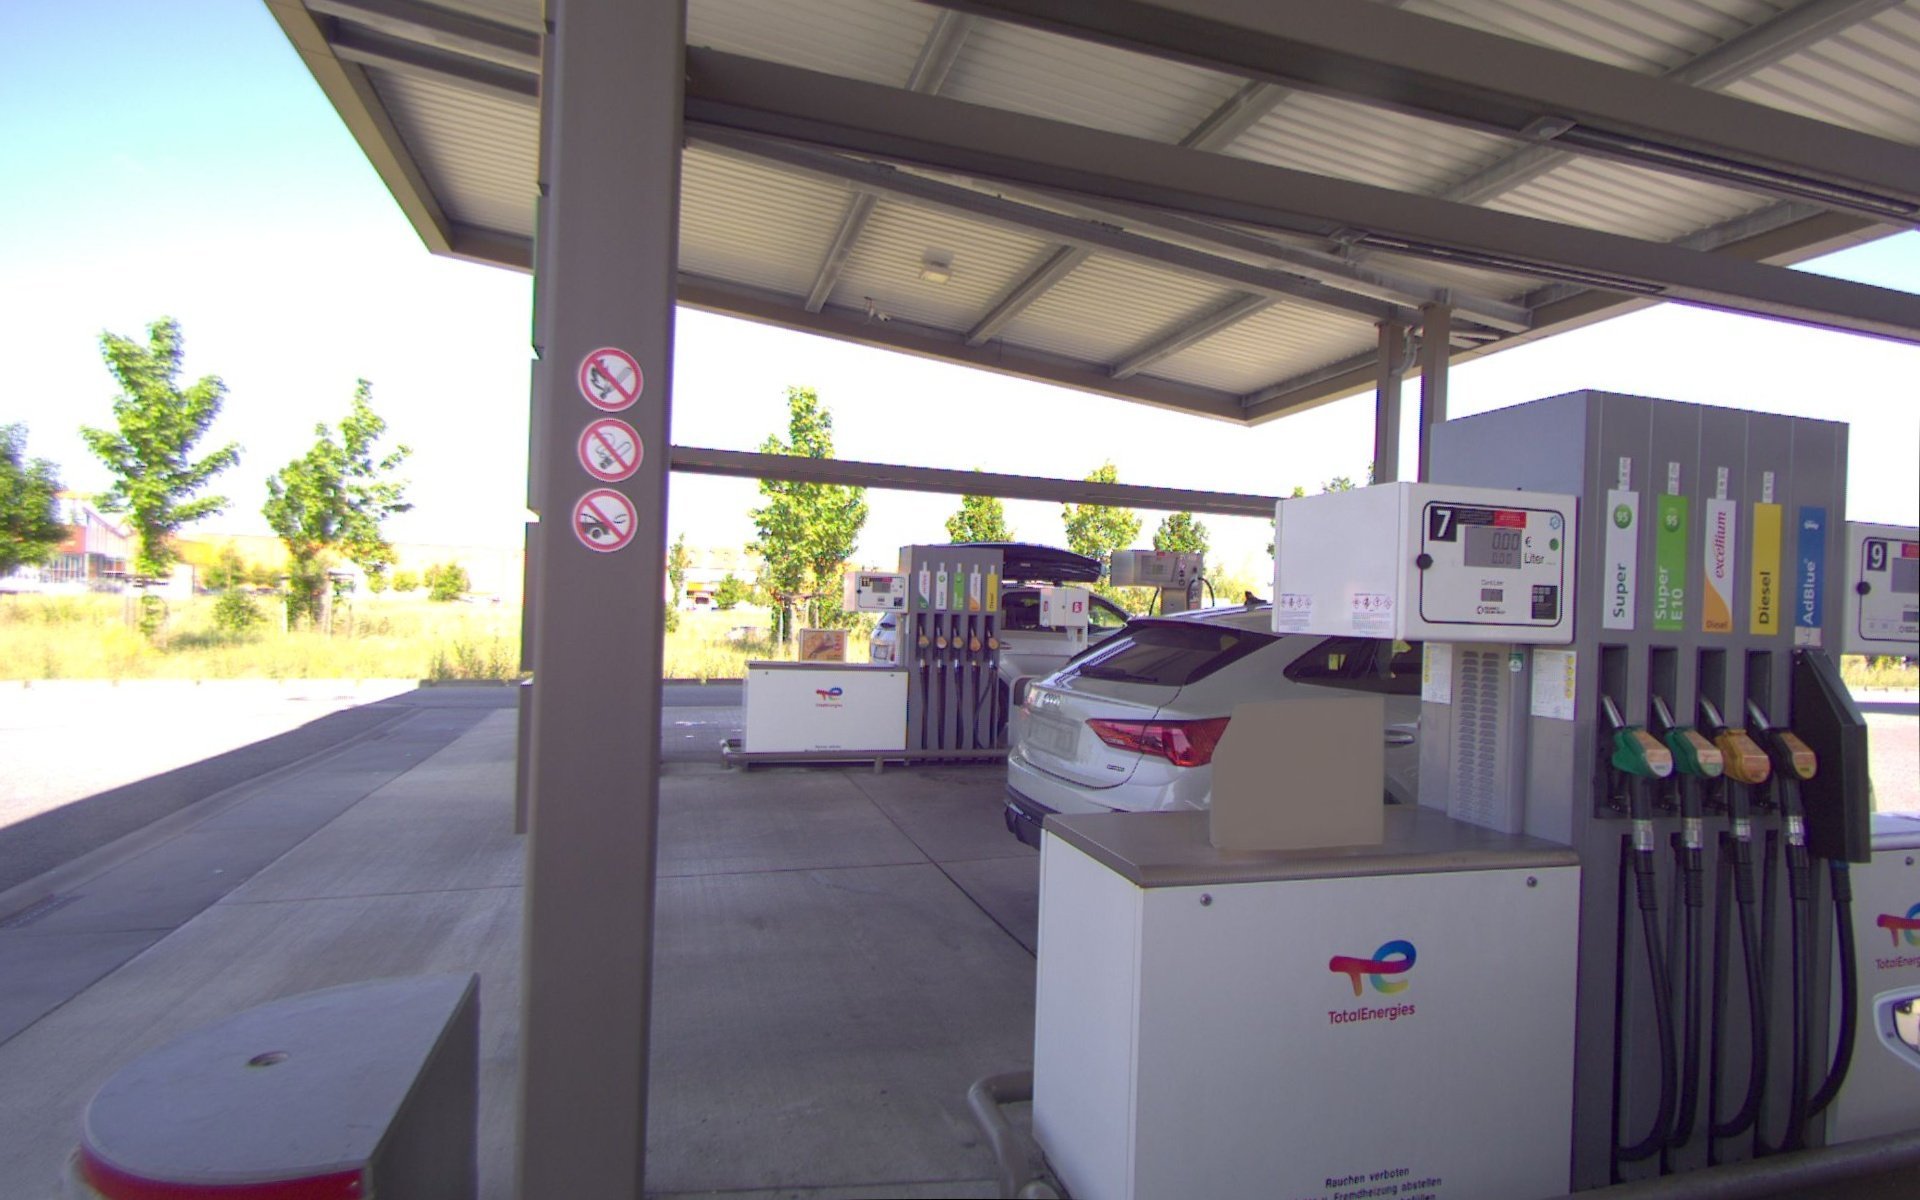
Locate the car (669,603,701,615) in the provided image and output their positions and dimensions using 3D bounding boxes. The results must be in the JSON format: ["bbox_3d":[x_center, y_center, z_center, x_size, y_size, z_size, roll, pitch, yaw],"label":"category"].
[{"bbox_3d":[-37.106,1.200,135.407,4.100,1.490,1.666,2,-1,-15],"label":"car"}]

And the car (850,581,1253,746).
[{"bbox_3d":[1.090,0.711,12.087,4.468,1.710,1.856,2,0,-21],"label":"car"}]

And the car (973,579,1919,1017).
[{"bbox_3d":[2.364,0.764,5.054,4.255,1.562,1.780,2,0,-17],"label":"car"}]
